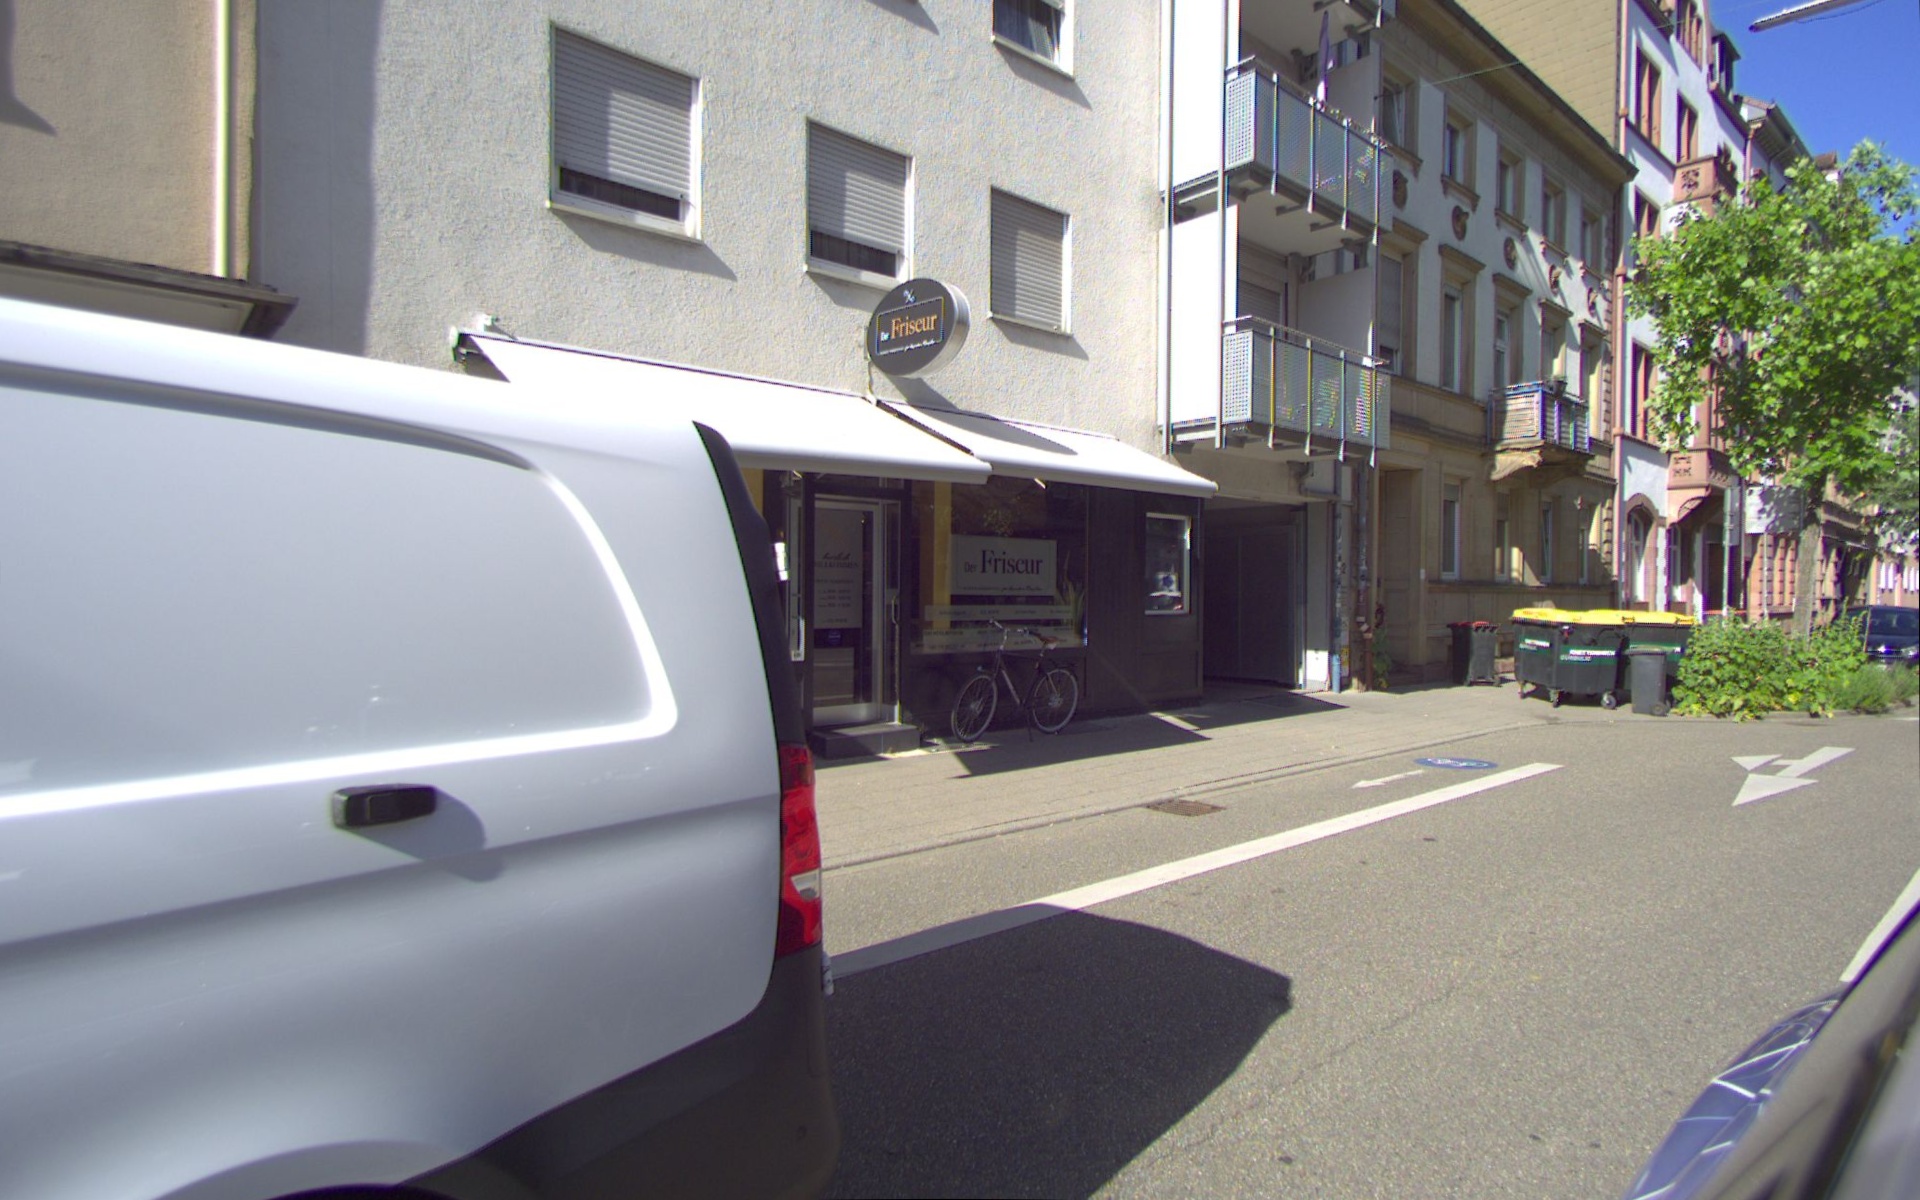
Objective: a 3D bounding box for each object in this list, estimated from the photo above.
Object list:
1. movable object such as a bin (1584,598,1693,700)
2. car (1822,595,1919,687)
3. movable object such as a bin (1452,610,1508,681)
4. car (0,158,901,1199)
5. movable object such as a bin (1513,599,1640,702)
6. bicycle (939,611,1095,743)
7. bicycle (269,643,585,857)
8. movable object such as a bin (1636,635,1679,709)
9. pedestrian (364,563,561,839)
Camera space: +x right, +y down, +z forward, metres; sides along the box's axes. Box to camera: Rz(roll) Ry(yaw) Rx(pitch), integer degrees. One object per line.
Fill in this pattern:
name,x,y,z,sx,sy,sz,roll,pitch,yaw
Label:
movable object such as a bin,9.956,0.688,14.901,0.943,1.365,1.066,1,3,11
car,16.835,0.676,18.215,3.293,1.510,1.550,0,1,-41
movable object such as a bin,8.530,0.744,16.623,0.557,1.094,0.617,1,3,1
car,-2.527,0.479,0.883,4.912,1.892,1.838,0,1,-43
movable object such as a bin,8.840,0.703,14.577,1.030,1.341,1.216,1,3,1
bicycle,0.602,0.723,10.103,1.760,1.193,0.402,0,0,-41
bicycle,-3.399,0.899,6.570,1.760,1.146,0.402,0,4,-41
movable object such as a bin,9.569,0.975,13.887,0.399,0.933,0.478,3,3,41
pedestrian,-3.170,0.572,6.436,0.930,1.556,0.825,0,4,-41
